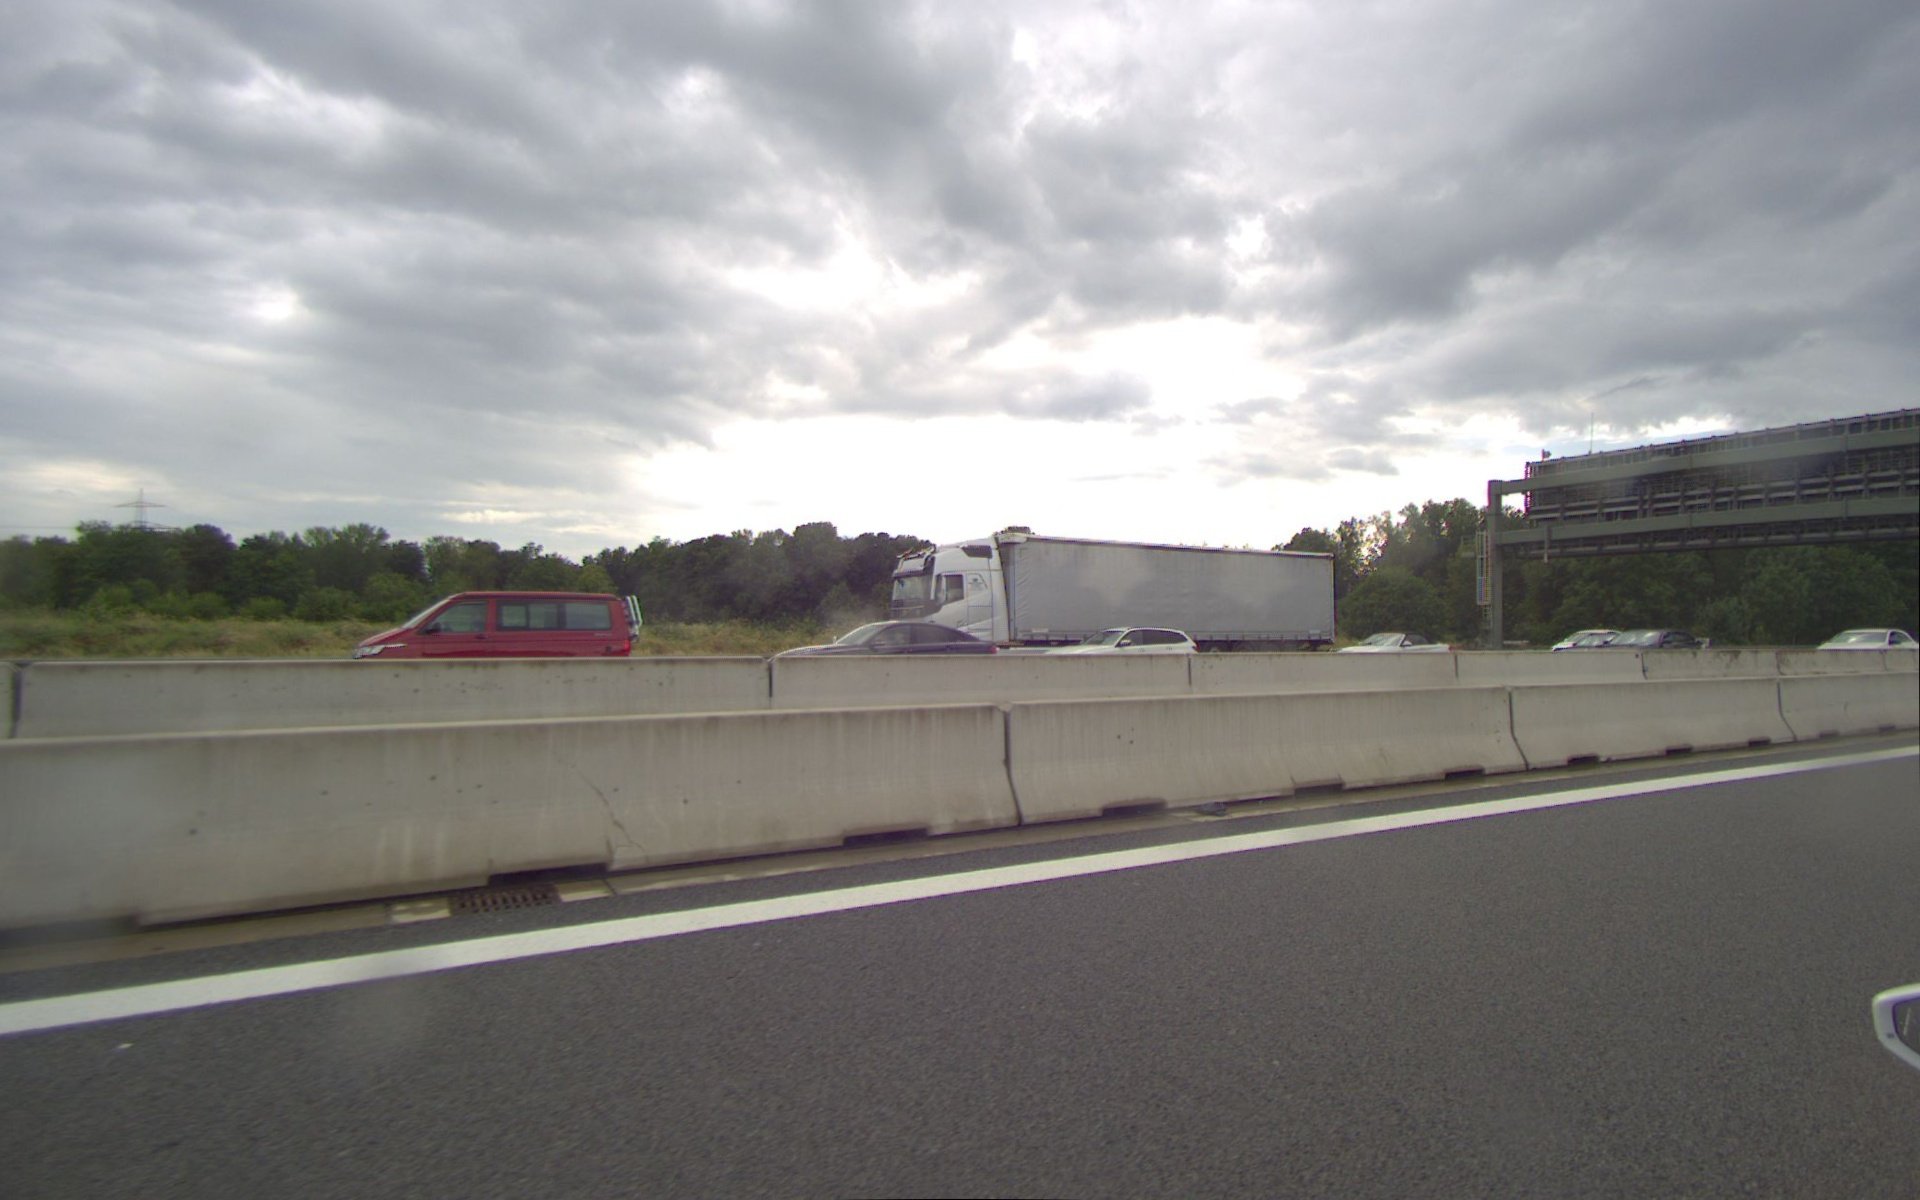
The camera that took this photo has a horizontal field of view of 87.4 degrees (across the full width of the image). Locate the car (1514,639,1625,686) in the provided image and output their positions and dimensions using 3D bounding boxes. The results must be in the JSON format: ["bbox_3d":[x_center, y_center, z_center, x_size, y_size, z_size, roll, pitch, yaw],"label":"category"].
[{"bbox_3d":[28.495,2.860,46.918,4.770,1.978,2.420,1,0,-30],"label":"car"}]

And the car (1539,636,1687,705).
[{"bbox_3d":[21.309,2.224,32.712,5.037,2.040,1.984,1,0,-30],"label":"car"}]

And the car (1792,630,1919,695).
[{"bbox_3d":[29.005,1.949,32.386,4.310,1.916,1.984,1,0,-30],"label":"car"}]

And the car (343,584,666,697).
[{"bbox_3d":[-8.527,0.732,19.079,5.328,1.898,1.984,1,0,-30],"label":"car"}]

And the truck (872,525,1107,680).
[{"bbox_3d":[0.892,0.126,29.563,6.159,4.111,3.205,1,0,-30],"label":"truck"}]

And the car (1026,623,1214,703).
[{"bbox_3d":[4.237,1.601,26.454,4.704,1.898,1.984,1,0,-30],"label":"car"}]

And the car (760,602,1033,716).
[{"bbox_3d":[-1.150,1.028,18.769,4.704,1.898,1.984,1,0,-30],"label":"car"}]

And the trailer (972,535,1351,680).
[{"bbox_3d":[7.052,0.340,33.229,13.646,4.082,3.223,1,0,-31],"label":"trailer"}]

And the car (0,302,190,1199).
[{"bbox_3d":[-4.233,0.366,1.109,5.102,1.845,1.984,1,0,-30],"label":"car"}]

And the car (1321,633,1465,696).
[{"bbox_3d":[13.663,1.961,31.619,4.618,1.805,1.812,1,0,-31],"label":"car"}]
